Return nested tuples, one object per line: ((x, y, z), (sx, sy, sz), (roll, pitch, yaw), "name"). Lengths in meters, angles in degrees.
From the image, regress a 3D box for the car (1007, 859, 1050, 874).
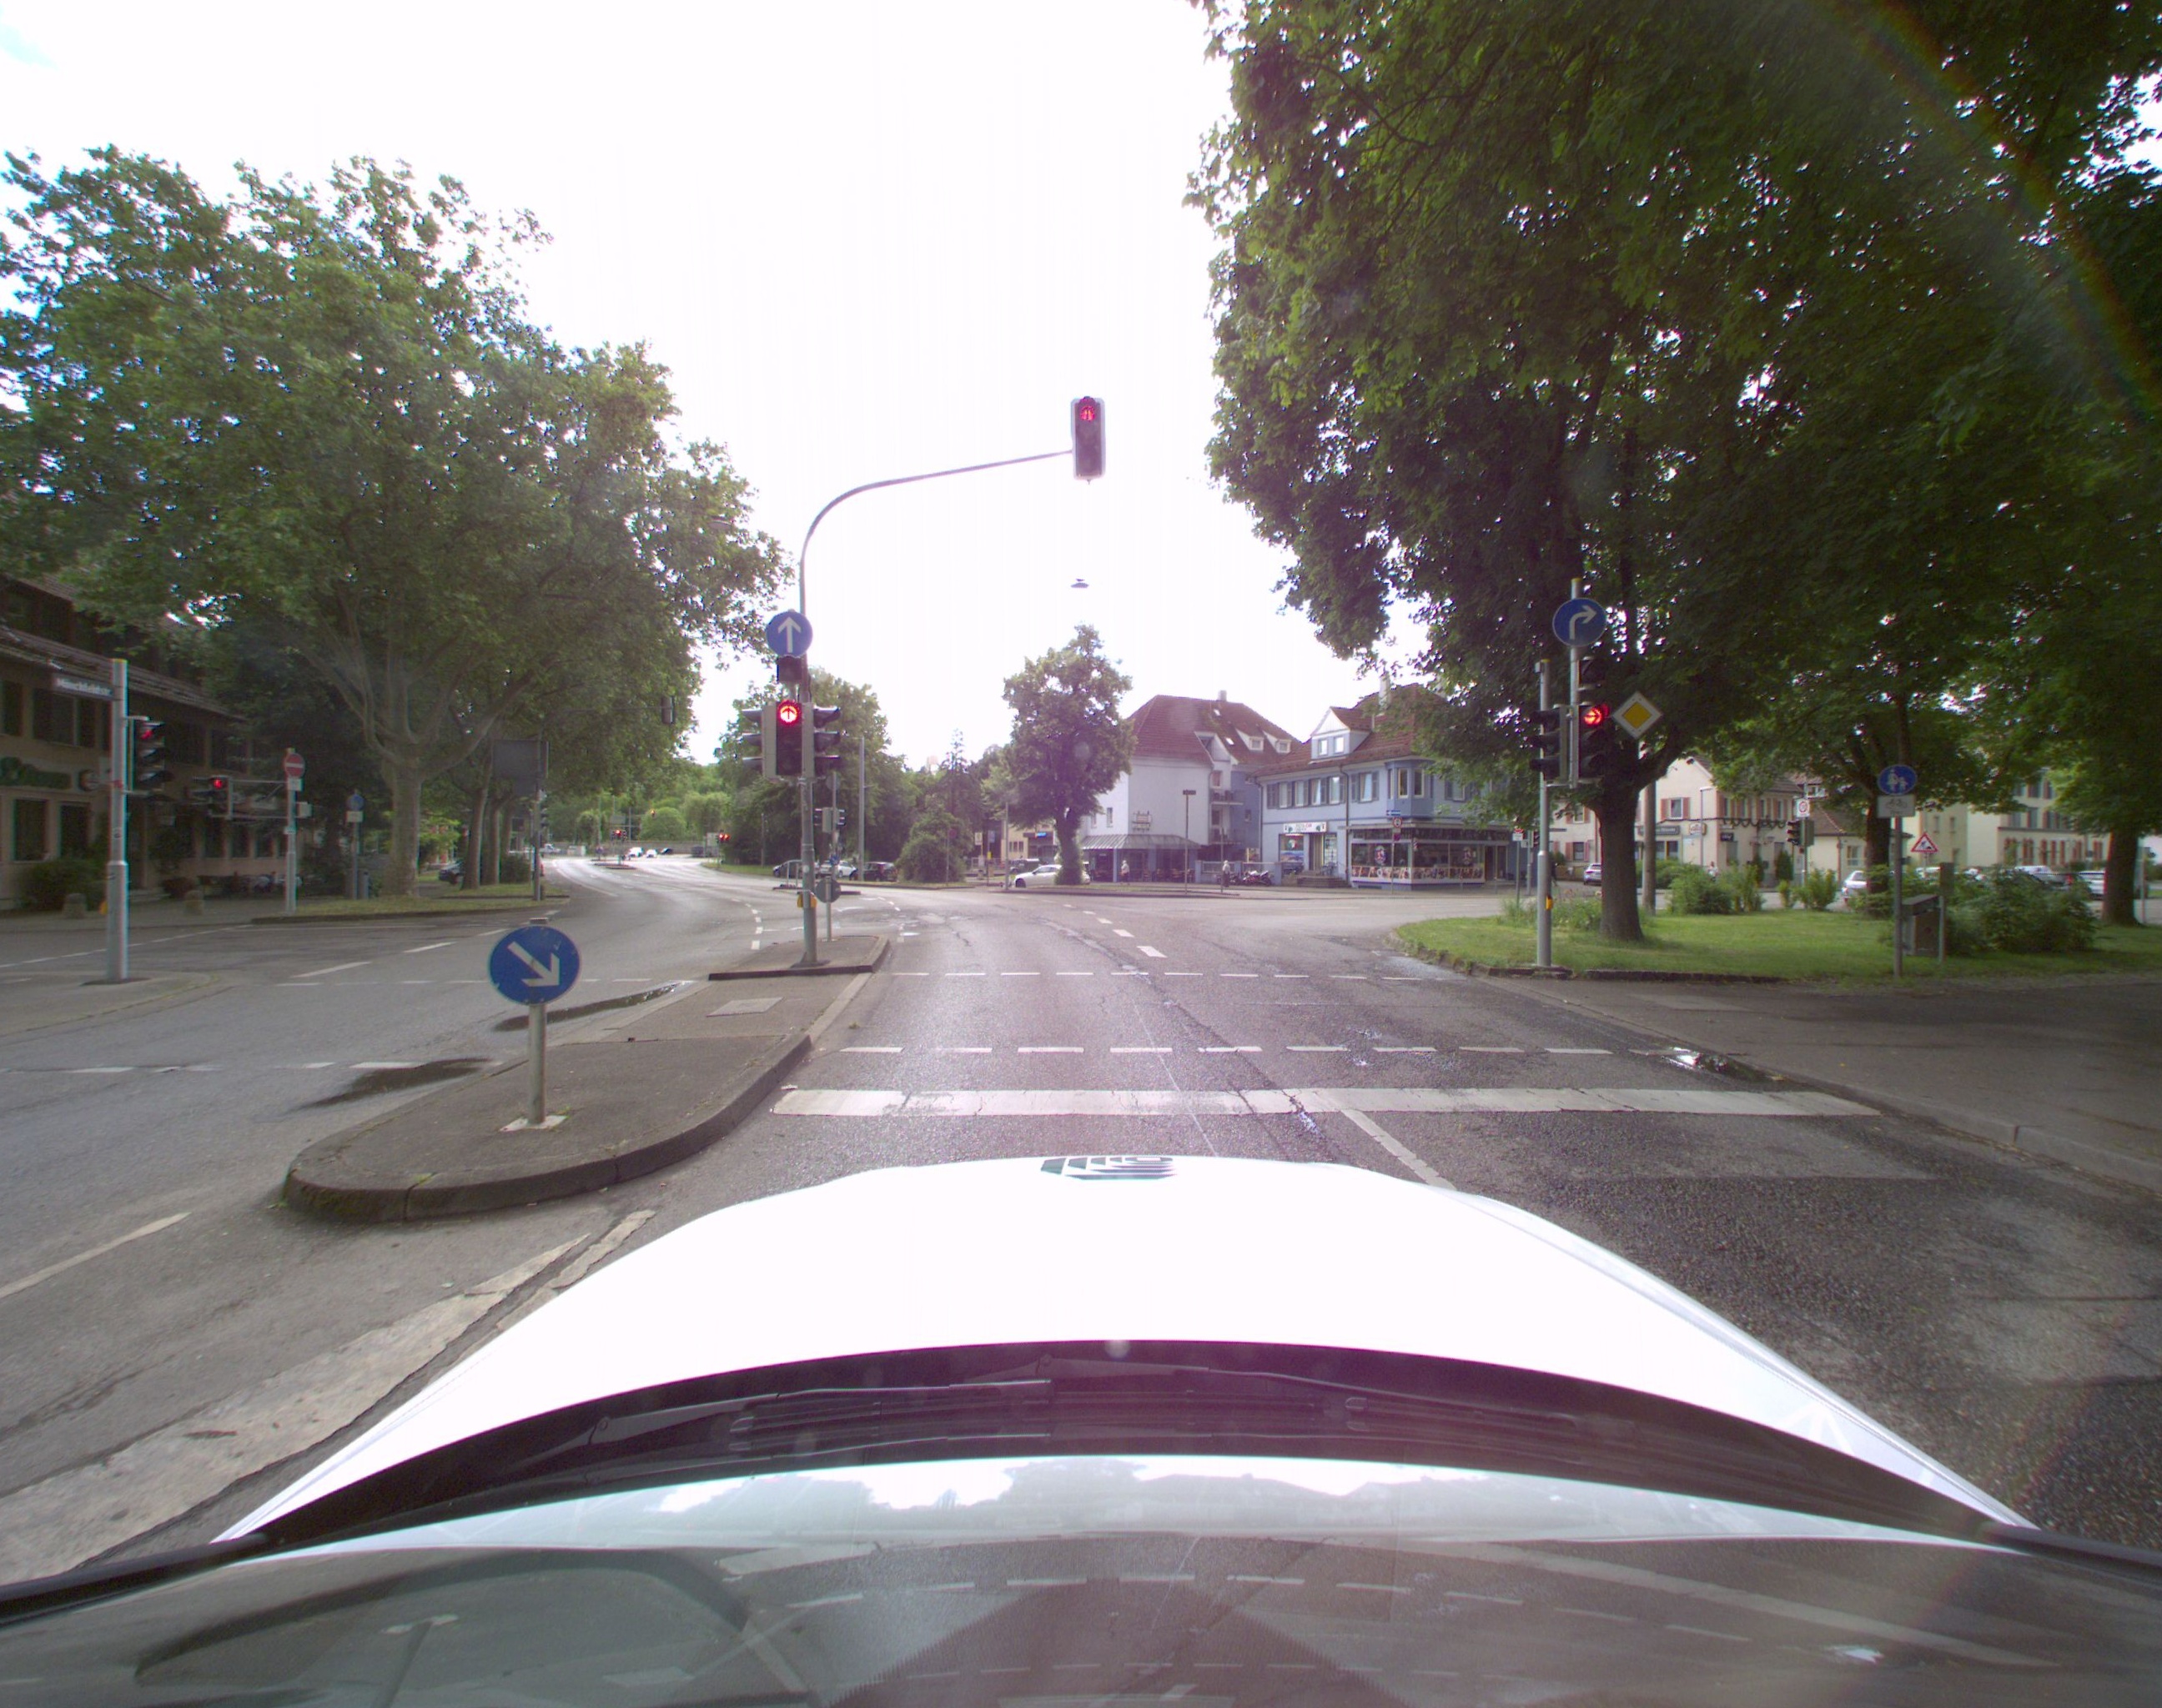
((-4.884, 1.139, 76.157), (3.752, 1.345, 1.422), (0, 0, -25), "car")

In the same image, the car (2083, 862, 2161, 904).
((52.828, 1.438, 41.127), (4.004, 2.014, 1.770), (0, -1, -23), "car")

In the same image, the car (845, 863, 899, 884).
((-13.910, 1.270, 54.207), (3.549, 1.394, 1.481), (0, -1, 34), "car")

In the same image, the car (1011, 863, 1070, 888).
((-2.311, 1.205, 46.240), (3.134, 1.354, 1.448), (0, -1, 36), "car")

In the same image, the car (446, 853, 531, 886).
((-31.004, 0.786, 42.719), (3.461, 1.641, 1.557), (0, -1, -31), "car")

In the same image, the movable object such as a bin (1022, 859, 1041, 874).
((-4.526, 1.138, 74.250), (1.447, 1.409, 0.959), (0, -1, -25), "movable object such as a bin")

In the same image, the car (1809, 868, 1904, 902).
((31.960, 1.254, 33.569), (3.511, 1.321, 1.549), (0, 0, -22), "car")

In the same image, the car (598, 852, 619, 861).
((-106.180, 0.501, 183.029), (4.011, 2.014, 1.981), (0, -1, -29), "car")

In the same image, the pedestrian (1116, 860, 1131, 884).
((2.777, 1.162, 52.679), (0.699, 1.545, 0.682), (-1, -1, 42), "pedestrian")

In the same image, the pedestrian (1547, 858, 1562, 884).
((27.176, 0.979, 46.750), (0.459, 1.517, 0.584), (0, -1, -19), "pedestrian")

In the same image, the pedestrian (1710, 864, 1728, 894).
((35.426, 1.373, 45.222), (0.612, 1.649, 0.605), (0, -1, -36), "pedestrian")

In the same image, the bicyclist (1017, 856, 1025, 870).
((-6.231, 0.935, 84.951), (0.739, 1.541, 0.596), (0, -1, -17), "bicyclist")

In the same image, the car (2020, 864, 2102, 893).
((47.000, 1.170, 39.060), (3.511, 1.321, 1.549), (0, 0, -22), "car")

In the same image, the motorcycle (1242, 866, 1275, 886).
((10.532, 1.291, 48.265), (1.777, 1.121, 0.699), (0, -1, 40), "motorcycle")

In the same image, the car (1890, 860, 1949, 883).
((55.113, 1.131, 53.531), (4.007, 1.420, 1.544), (0, 0, -26), "car")

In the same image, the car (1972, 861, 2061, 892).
((42.213, 0.979, 36.753), (3.510, 1.321, 1.549), (0, 0, -21), "car")

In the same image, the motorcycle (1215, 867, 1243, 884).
((9.111, 1.317, 50.079), (0.699, 1.064, 1.617), (0, -1, -44), "motorcycle")

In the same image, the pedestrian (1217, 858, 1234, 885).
((8.540, 1.030, 48.201), (0.759, 1.545, 0.682), (-1, -1, 41), "pedestrian")

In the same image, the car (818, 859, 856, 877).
((-20.082, 1.134, 67.188), (1.534, 1.464, 3.407), (0, 0, 13), "car")

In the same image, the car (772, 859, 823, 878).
((-22.441, 1.118, 64.486), (3.520, 1.464, 1.591), (0, 0, 14), "car")

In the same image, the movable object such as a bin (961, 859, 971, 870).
((-12.224, 1.124, 86.641), (0.953, 1.115, 0.381), (0, -1, -19), "movable object such as a bin")

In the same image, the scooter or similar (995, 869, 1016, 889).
((-3.980, 1.293, 42.883), (0.413, 1.011, 1.575), (-1, -1, 22), "scooter or similar")

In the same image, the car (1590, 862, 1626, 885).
((32.600, 1.188, 50.342), (1.481, 1.369, 3.198), (-1, -1, 40), "car")

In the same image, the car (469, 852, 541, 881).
((-35.487, 0.759, 50.285), (3.461, 1.742, 1.557), (0, -1, -31), "car")

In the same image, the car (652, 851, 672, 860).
((-95.500, 0.443, 185.605), (4.011, 2.014, 1.981), (0, -1, -29), "car")
